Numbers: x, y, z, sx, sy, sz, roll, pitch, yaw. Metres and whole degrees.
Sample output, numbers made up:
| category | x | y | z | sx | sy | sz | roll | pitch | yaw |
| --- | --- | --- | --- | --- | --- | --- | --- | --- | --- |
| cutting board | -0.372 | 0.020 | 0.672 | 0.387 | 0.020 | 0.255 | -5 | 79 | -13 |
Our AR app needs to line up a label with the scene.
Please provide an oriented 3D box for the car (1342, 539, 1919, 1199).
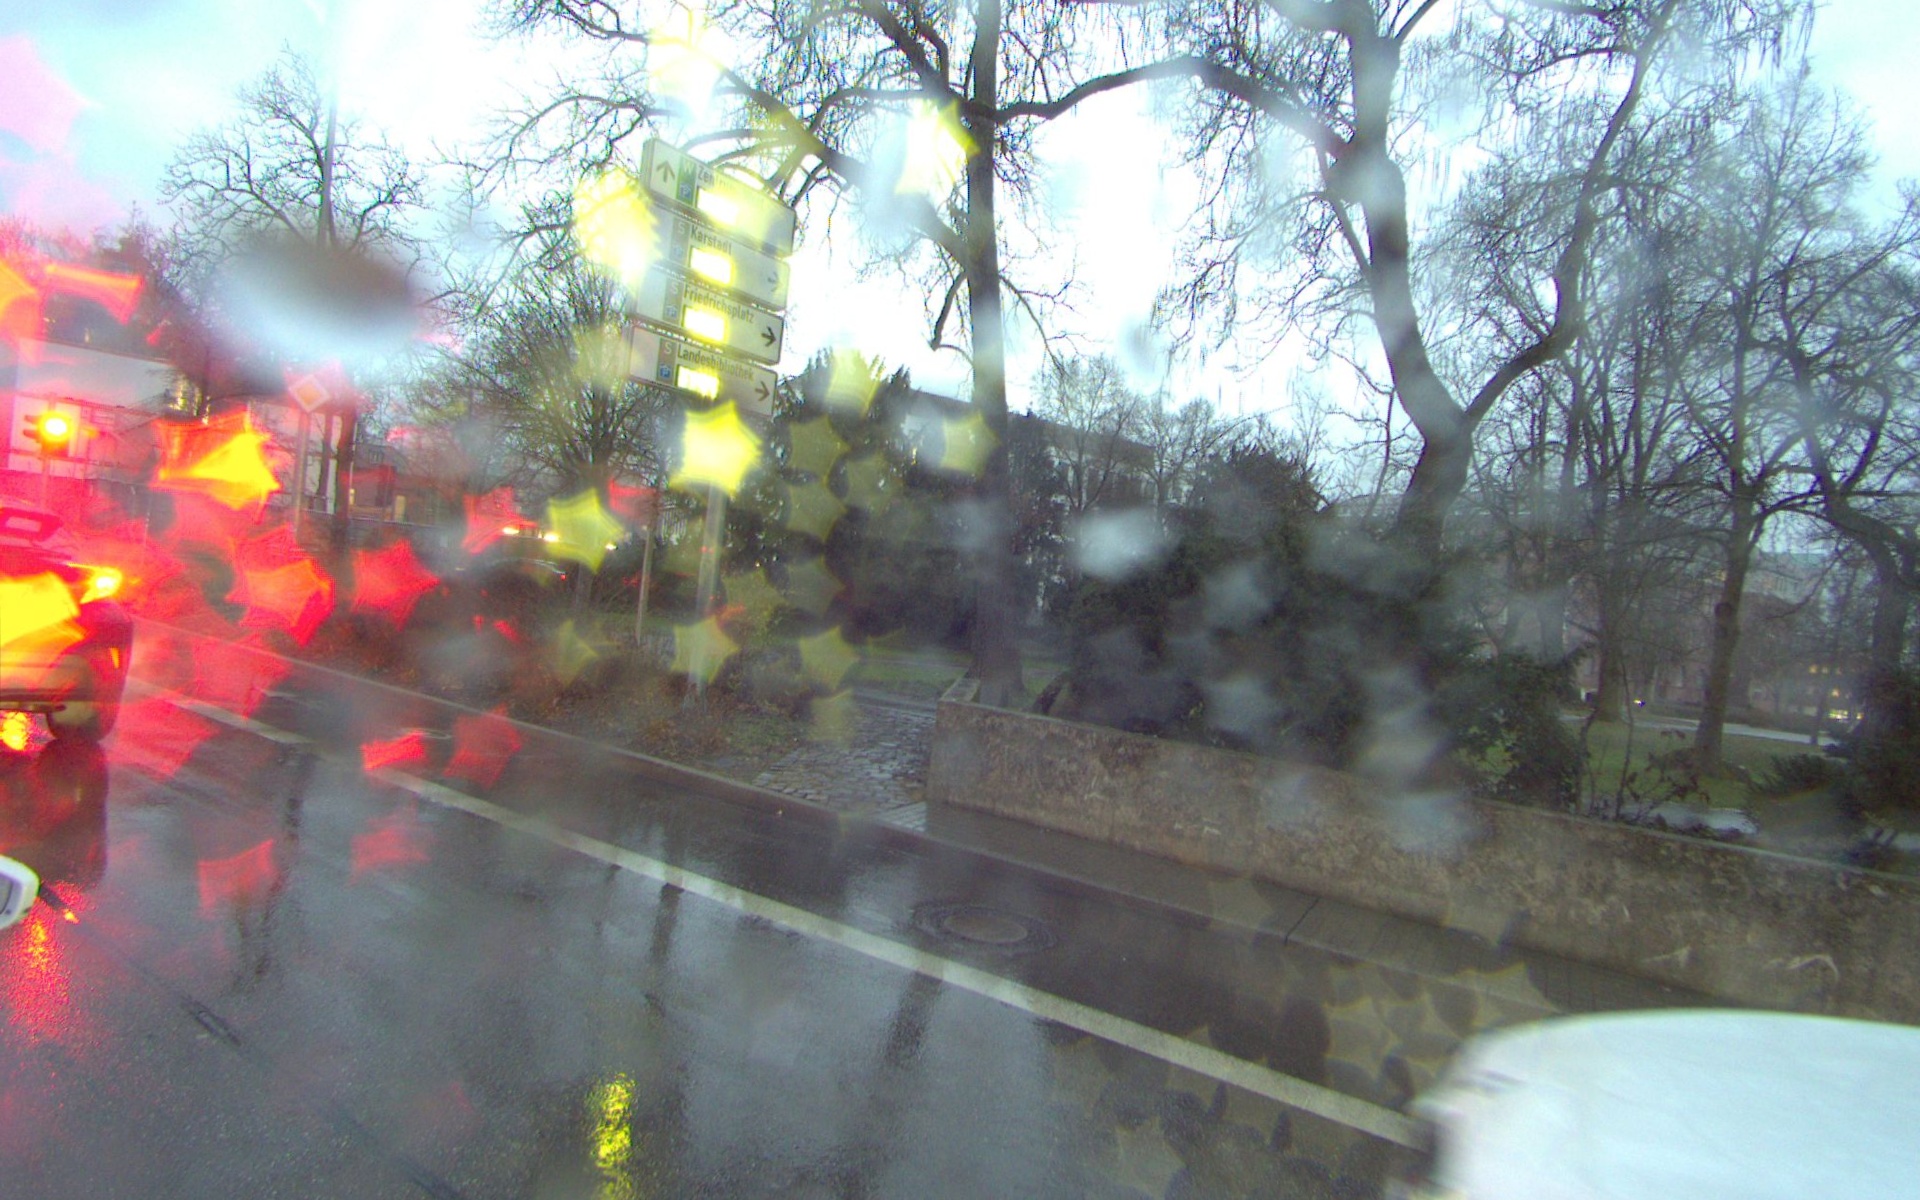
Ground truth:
| category | x | y | z | sx | sy | sz | roll | pitch | yaw |
| --- | --- | --- | --- | --- | --- | --- | --- | --- | --- |
| car | 2.973 | 1.037 | 0.818 | 4.852 | 1.575 | 1.866 | 7 | 0 | 28 |

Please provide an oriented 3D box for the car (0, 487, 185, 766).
| category | x | y | z | sx | sy | sz | roll | pitch | yaw |
| --- | --- | --- | --- | --- | --- | --- | --- | --- | --- |
| car | -6.910 | -0.045 | 6.419 | 3.831 | 1.529 | 1.802 | 7 | 0 | 32 |
